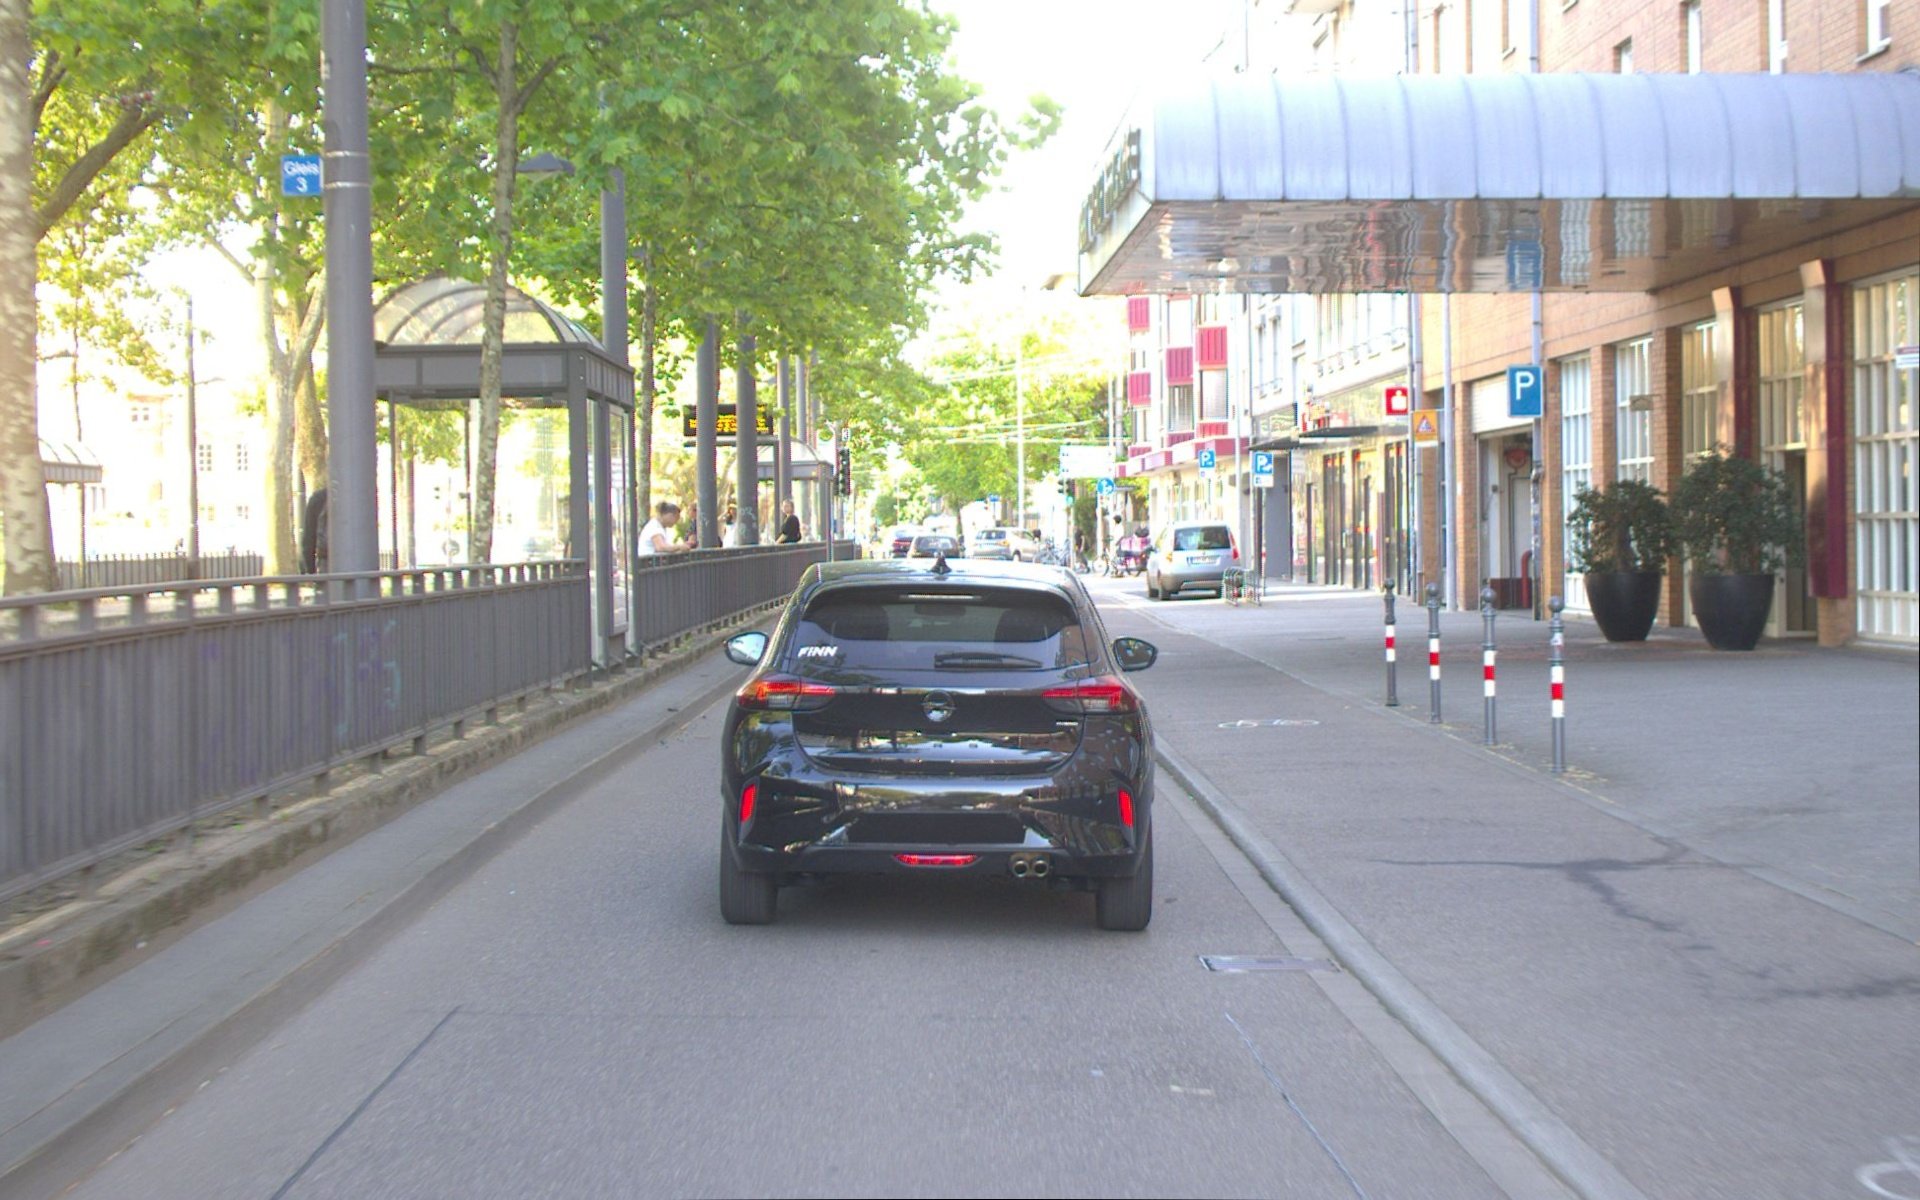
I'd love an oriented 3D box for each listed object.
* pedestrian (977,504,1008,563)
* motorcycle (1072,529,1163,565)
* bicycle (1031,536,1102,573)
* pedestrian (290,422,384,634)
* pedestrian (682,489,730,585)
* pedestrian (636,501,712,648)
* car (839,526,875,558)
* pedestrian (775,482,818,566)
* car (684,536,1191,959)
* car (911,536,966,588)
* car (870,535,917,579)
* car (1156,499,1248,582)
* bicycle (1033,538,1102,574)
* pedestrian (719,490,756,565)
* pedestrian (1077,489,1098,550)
[{"bbox_3d":[1.619,-3.286,170.166,1.147,2.862,0.920,-2,1,-33],"label":"pedestrian"},{"bbox_3d":[4.799,-1.631,104.828,1.304,1.055,3.098,-1,2,-30],"label":"motorcycle"},{"bbox_3d":[3.610,-1.530,116.504,2.355,1.229,0.684,0,1,2],"label":"bicycle"},{"bbox_3d":[-5.037,-0.581,27.804,0.604,1.674,0.486,-2,1,0],"label":"pedestrian"},{"bbox_3d":[-3.663,-0.907,49.661,0.604,1.360,0.486,-2,1,0],"label":"pedestrian"},{"bbox_3d":[-2.823,-0.257,34.009,0.722,1.440,0.627,-1,1,-4],"label":"pedestrian"},{"bbox_3d":[-4.839,-2.728,161.157,1.613,1.496,3.691,-1,1,-1],"label":"car"},{"bbox_3d":[-2.812,-1.313,59.178,0.722,1.440,0.627,-1,1,-3],"label":"pedestrian"},{"bbox_3d":[0.032,0.525,14.517,1.672,1.496,3.689,2,1,6],"label":"car"},{"bbox_3d":[-0.651,-1.158,103.153,1.613,1.496,3.691,-1,1,-1],"label":"car"},{"bbox_3d":[-2.343,-1.530,121.608,1.613,1.496,3.691,-1,1,-1],"label":"car"},{"bbox_3d":[4.954,-1.239,70.831,1.672,1.646,3.691,0,1,1],"label":"car"},{"bbox_3d":[3.701,-1.516,118.010,2.355,1.229,0.684,0,1,2],"label":"bicycle"},{"bbox_3d":[-4.148,-1.346,64.046,0.604,1.360,0.486,-2,1,0],"label":"pedestrian"},{"bbox_3d":[6.021,-3.783,162.439,0.917,2.861,1.150,-1,1,-1],"label":"pedestrian"}]
